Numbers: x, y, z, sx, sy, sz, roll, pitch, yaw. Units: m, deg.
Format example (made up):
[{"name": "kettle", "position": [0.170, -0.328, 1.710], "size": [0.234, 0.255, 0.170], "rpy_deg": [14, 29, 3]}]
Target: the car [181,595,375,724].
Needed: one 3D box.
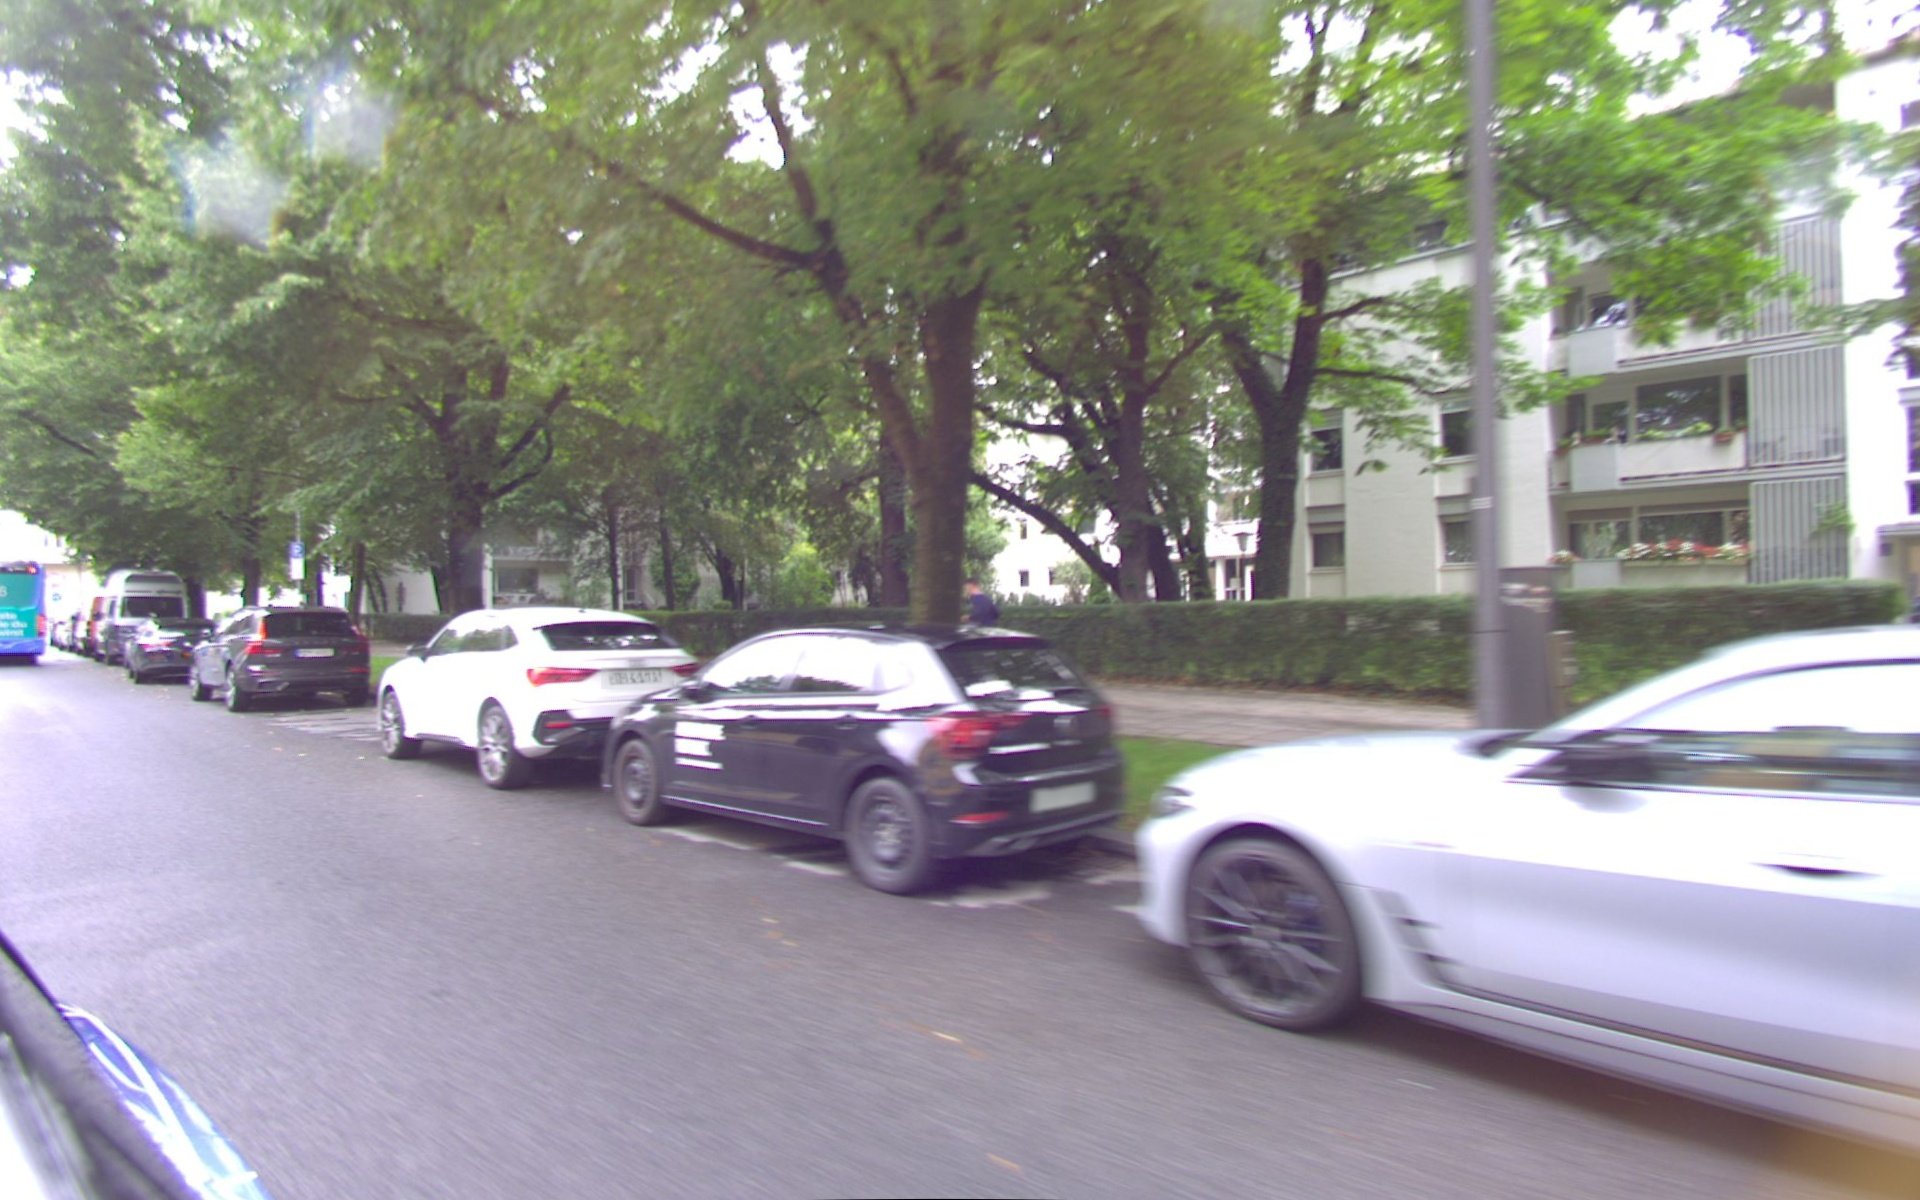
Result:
[{"name": "car", "position": [-11.524, 0.884, 16.971], "size": [4.549, 1.891, 1.764], "rpy_deg": [-1, -1, 44]}]

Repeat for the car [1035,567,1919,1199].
[{"name": "car", "position": [2.708, 0.659, 3.149], "size": [1.789, 1.480, 5.000], "rpy_deg": [0, 0, -45]}]

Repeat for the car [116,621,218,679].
[{"name": "car", "position": [-22.111, 1.336, 28.137], "size": [1.769, 1.449, 4.581], "rpy_deg": [0, -1, -44]}]

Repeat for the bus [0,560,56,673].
[{"name": "bus", "position": [-34.459, 0.465, 35.561], "size": [18.434, 3.263, 2.827], "rpy_deg": [0, 0, 45]}]

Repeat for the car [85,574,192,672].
[{"name": "car", "position": [-26.526, 0.660, 32.589], "size": [6.238, 2.876, 1.923], "rpy_deg": [0, 0, 44]}]

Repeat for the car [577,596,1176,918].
[{"name": "car", "position": [-0.795, 0.737, 6.709], "size": [4.105, 1.480, 1.653], "rpy_deg": [-1, 0, 44]}]

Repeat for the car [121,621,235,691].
[{"name": "car", "position": [-18.312, 1.238, 23.609], "size": [1.768, 1.449, 4.556], "rpy_deg": [0, -1, -42]}]

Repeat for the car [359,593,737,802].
[{"name": "car", "position": [-4.270, 0.766, 10.063], "size": [4.585, 1.609, 1.764], "rpy_deg": [-1, 0, 44]}]
